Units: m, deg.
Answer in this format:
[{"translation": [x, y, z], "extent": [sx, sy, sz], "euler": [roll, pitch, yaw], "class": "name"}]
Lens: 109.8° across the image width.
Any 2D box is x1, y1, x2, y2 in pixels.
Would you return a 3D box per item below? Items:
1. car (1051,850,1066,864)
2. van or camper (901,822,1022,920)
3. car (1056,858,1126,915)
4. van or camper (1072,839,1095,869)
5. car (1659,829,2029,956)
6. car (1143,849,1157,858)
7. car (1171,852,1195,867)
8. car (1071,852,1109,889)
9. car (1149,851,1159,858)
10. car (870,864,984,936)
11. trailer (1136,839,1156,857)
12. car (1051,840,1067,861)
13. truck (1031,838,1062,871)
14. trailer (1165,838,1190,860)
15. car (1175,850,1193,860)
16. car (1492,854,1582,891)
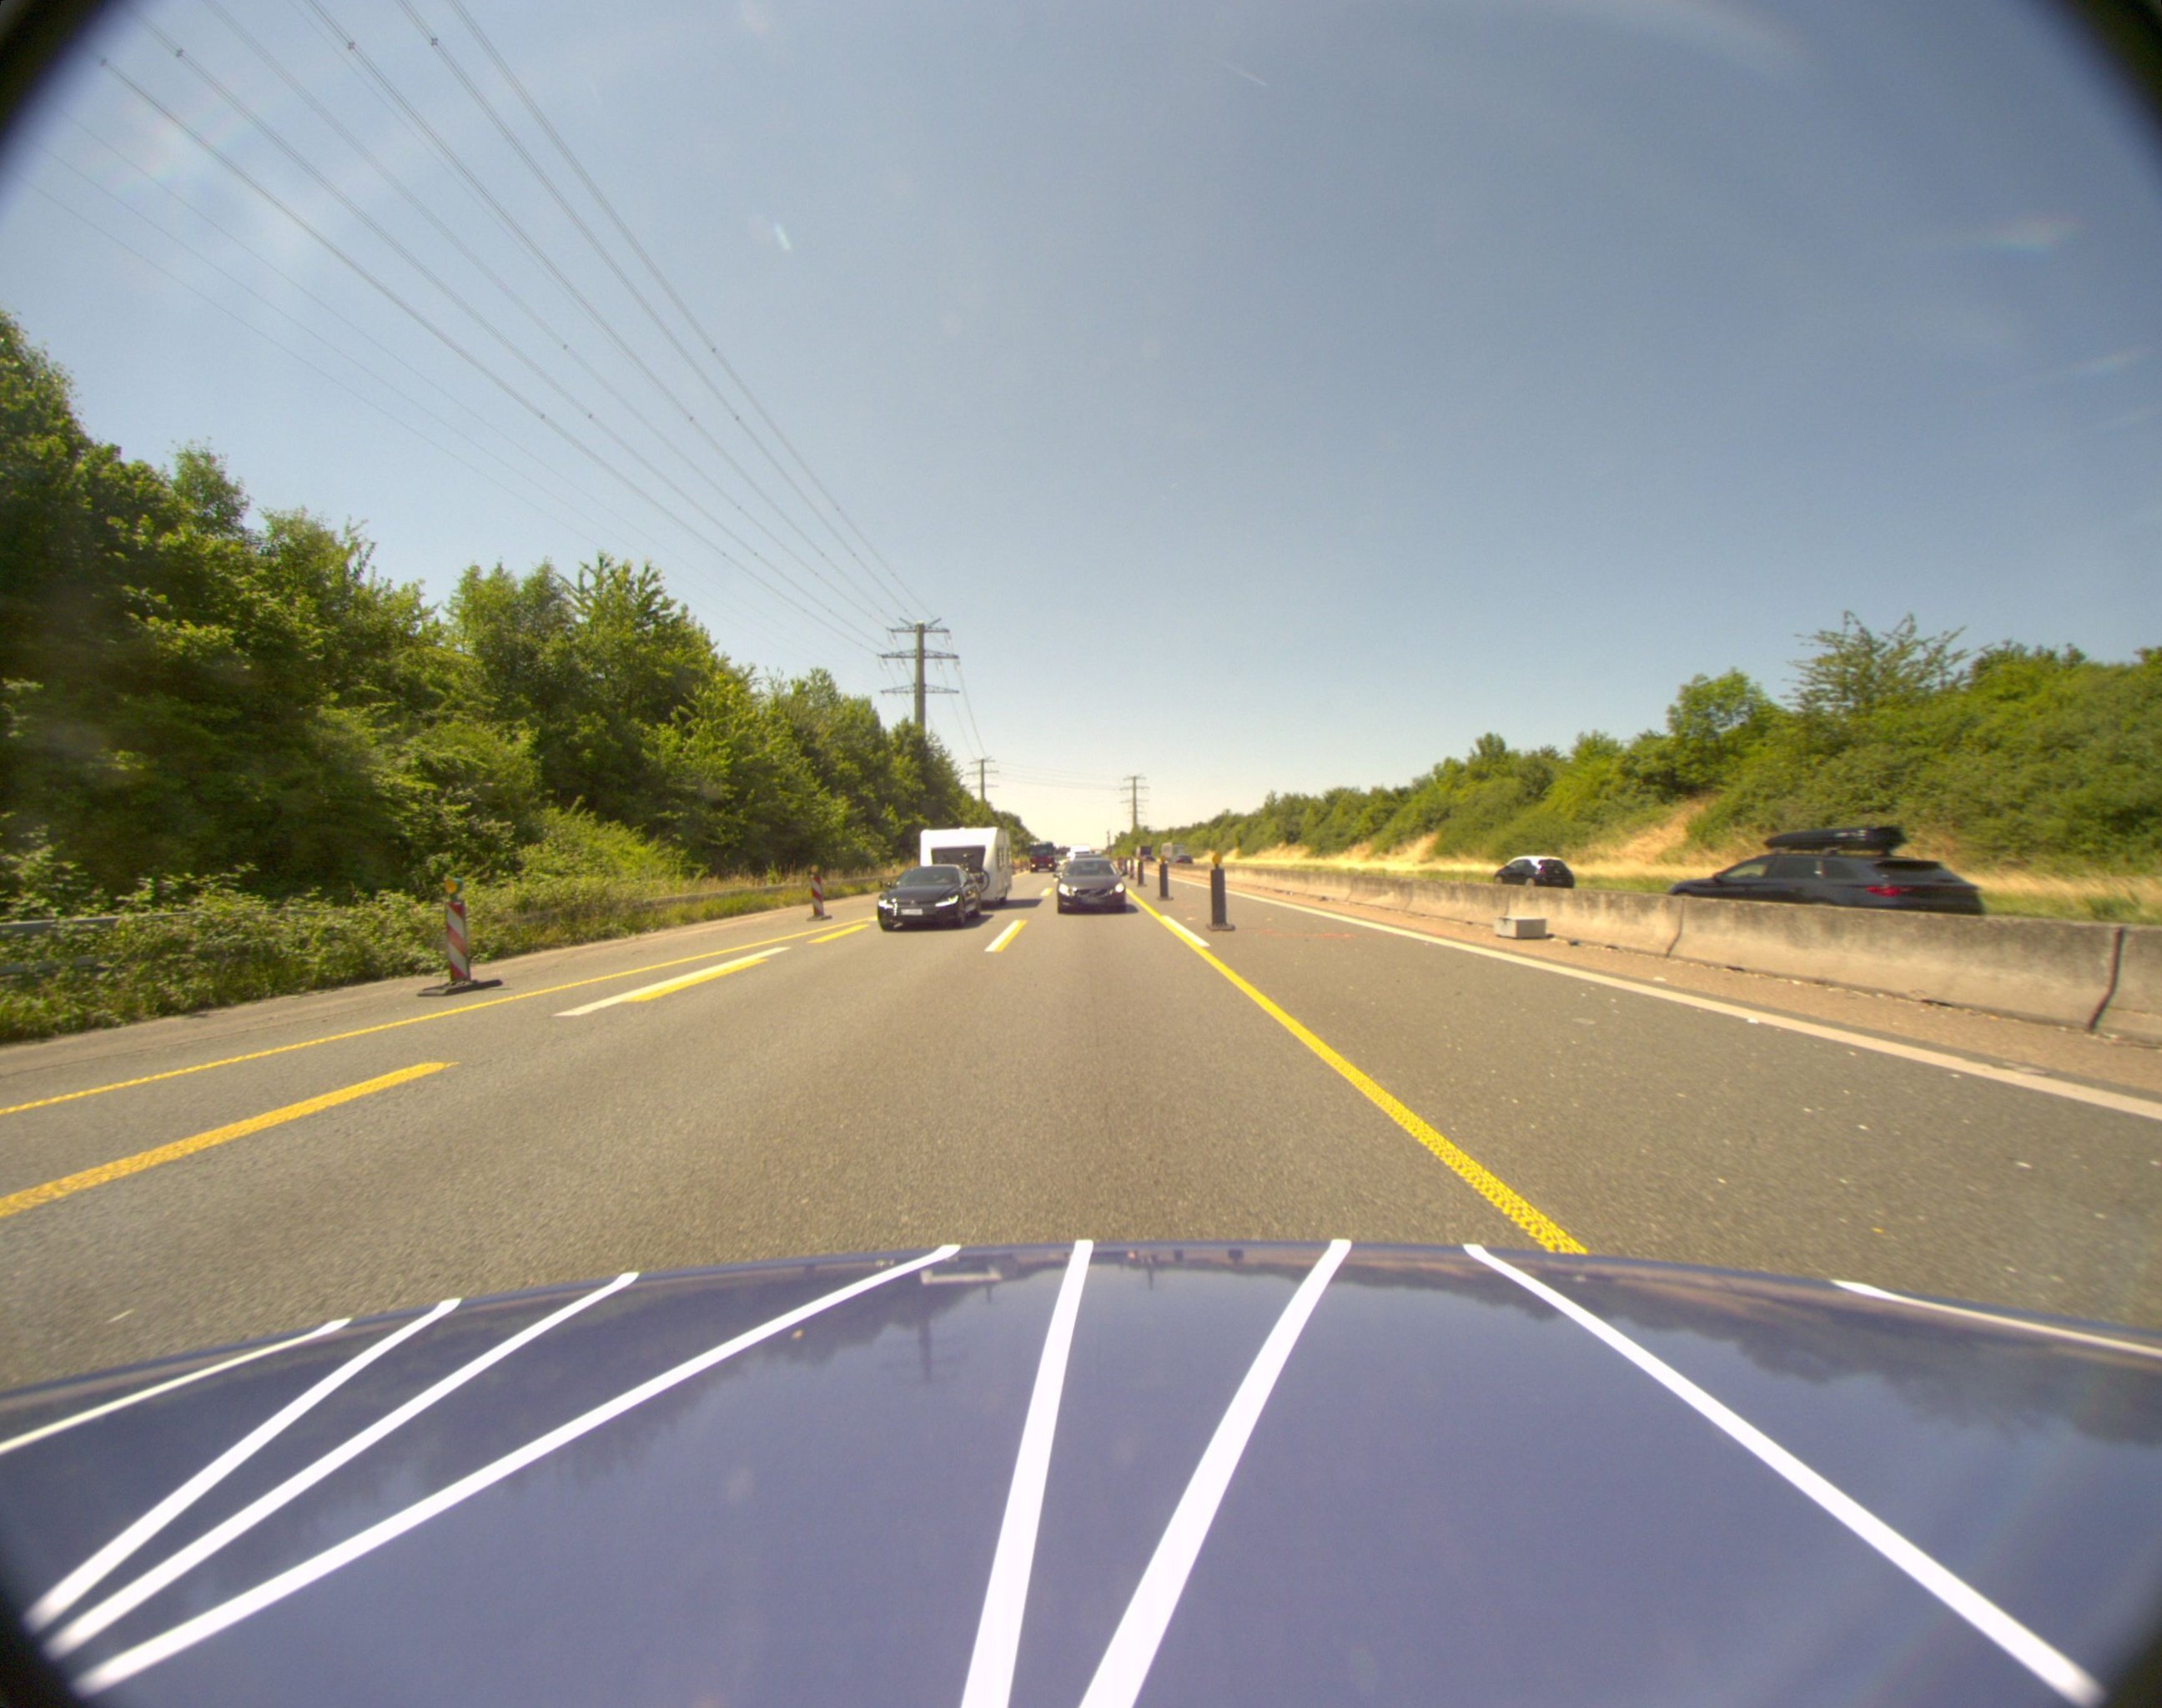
[{"translation": [-3.169, 0.379, 105.857], "extent": [1.850, 1.810, 3.925], "euler": [-2, 0, 1], "class": "car"}, {"translation": [-3.538, 0.441, 24.607], "extent": [2.432, 2.549, 8.417], "euler": [-2, 0, 0], "class": "van or camper"}, {"translation": [0.274, 0.867, 22.188], "extent": [1.798, 1.433, 4.000], "euler": [-2, 0, 0], "class": "car"}, {"translation": [0.270, -0.014, 68.713], "extent": [1.998, 2.604, 5.629], "euler": [0, 0, 1], "class": "van or camper"}, {"translation": [12.765, 0.542, 13.264], "extent": [1.746, 1.807, 4.621], "euler": [0, 0, -1], "class": "car"}, {"translation": [11.291, -0.114, 124.144], "extent": [1.853, 1.452, 4.488], "euler": [0, 0, 0], "class": "car"}, {"translation": [10.984, 0.565, 82.182], "extent": [1.998, 1.591, 4.582], "euler": [0, 0, 0], "class": "car"}, {"translation": [0.520, 0.778, 37.718], "extent": [1.675, 1.619, 4.691], "euler": [-3, 0, 2], "class": "car"}, {"translation": [14.410, 0.044, 150.054], "extent": [1.507, 1.388, 4.088], "euler": [-1, 0, -3], "class": "car"}, {"translation": [-3.538, 1.012, 18.253], "extent": [1.800, 1.399, 4.209], "euler": [-2, 0, 0], "class": "car"}, {"translation": [15.286, -1.432, 179.841], "extent": [3.168, 4.155, 13.682], "euler": [0, 0, -1], "class": "trailer"}, {"translation": [-4.216, -0.701, 146.193], "extent": [2.397, 3.779, 10.273], "euler": [-2, 0, 1], "class": "car"}, {"translation": [-3.546, 0.075, 79.494], "extent": [2.431, 3.122, 7.648], "euler": [-4, 0, 2], "class": "truck"}, {"translation": [18.912, -0.901, 150.291], "extent": [2.961, 4.038, 13.635], "euler": [1, 0, -1], "class": "trailer"}, {"translation": [15.583, 0.202, 115.513], "extent": [1.999, 1.452, 4.586], "euler": [0, 0, -1], "class": "car"}, {"translation": [19.184, 0.721, 32.142], "extent": [1.578, 1.456, 3.778], "euler": [0, 0, 1], "class": "car"}]
